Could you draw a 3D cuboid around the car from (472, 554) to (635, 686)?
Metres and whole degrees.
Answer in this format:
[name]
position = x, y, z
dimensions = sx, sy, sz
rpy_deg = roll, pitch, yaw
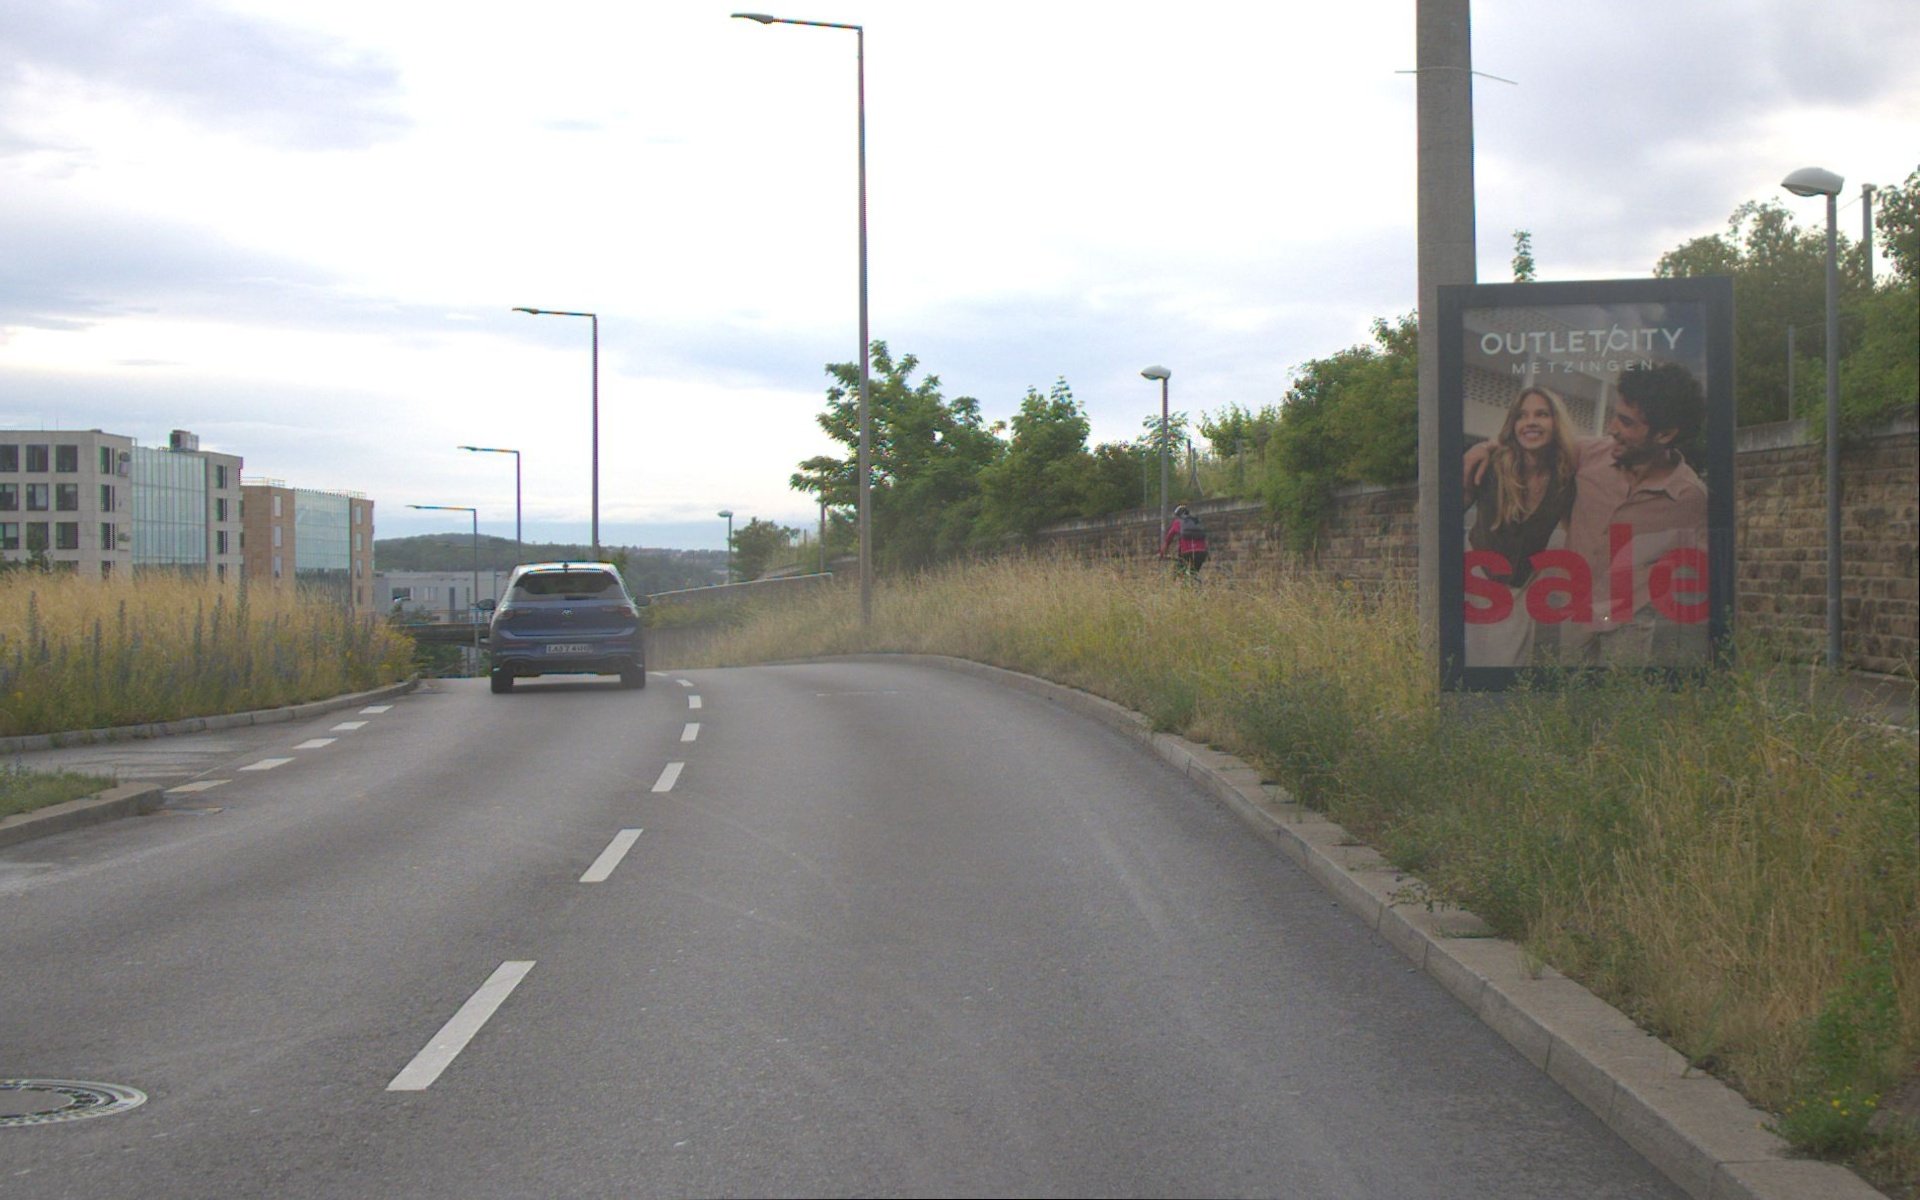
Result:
[car]
position = -4.711, 0.208, 39.800
dimensions = 1.748, 1.415, 3.479
rpy_deg = 2, 0, -7

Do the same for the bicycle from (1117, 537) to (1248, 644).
[bicycle]
position = 3.170, -0.112, 49.387
dimensions = 0.869, 1.284, 3.487
rpy_deg = 2, -4, -14

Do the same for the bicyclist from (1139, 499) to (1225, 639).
[bicyclist]
position = 3.181, -0.427, 49.342
dimensions = 0.869, 1.902, 1.294
rpy_deg = 2, -4, -14
